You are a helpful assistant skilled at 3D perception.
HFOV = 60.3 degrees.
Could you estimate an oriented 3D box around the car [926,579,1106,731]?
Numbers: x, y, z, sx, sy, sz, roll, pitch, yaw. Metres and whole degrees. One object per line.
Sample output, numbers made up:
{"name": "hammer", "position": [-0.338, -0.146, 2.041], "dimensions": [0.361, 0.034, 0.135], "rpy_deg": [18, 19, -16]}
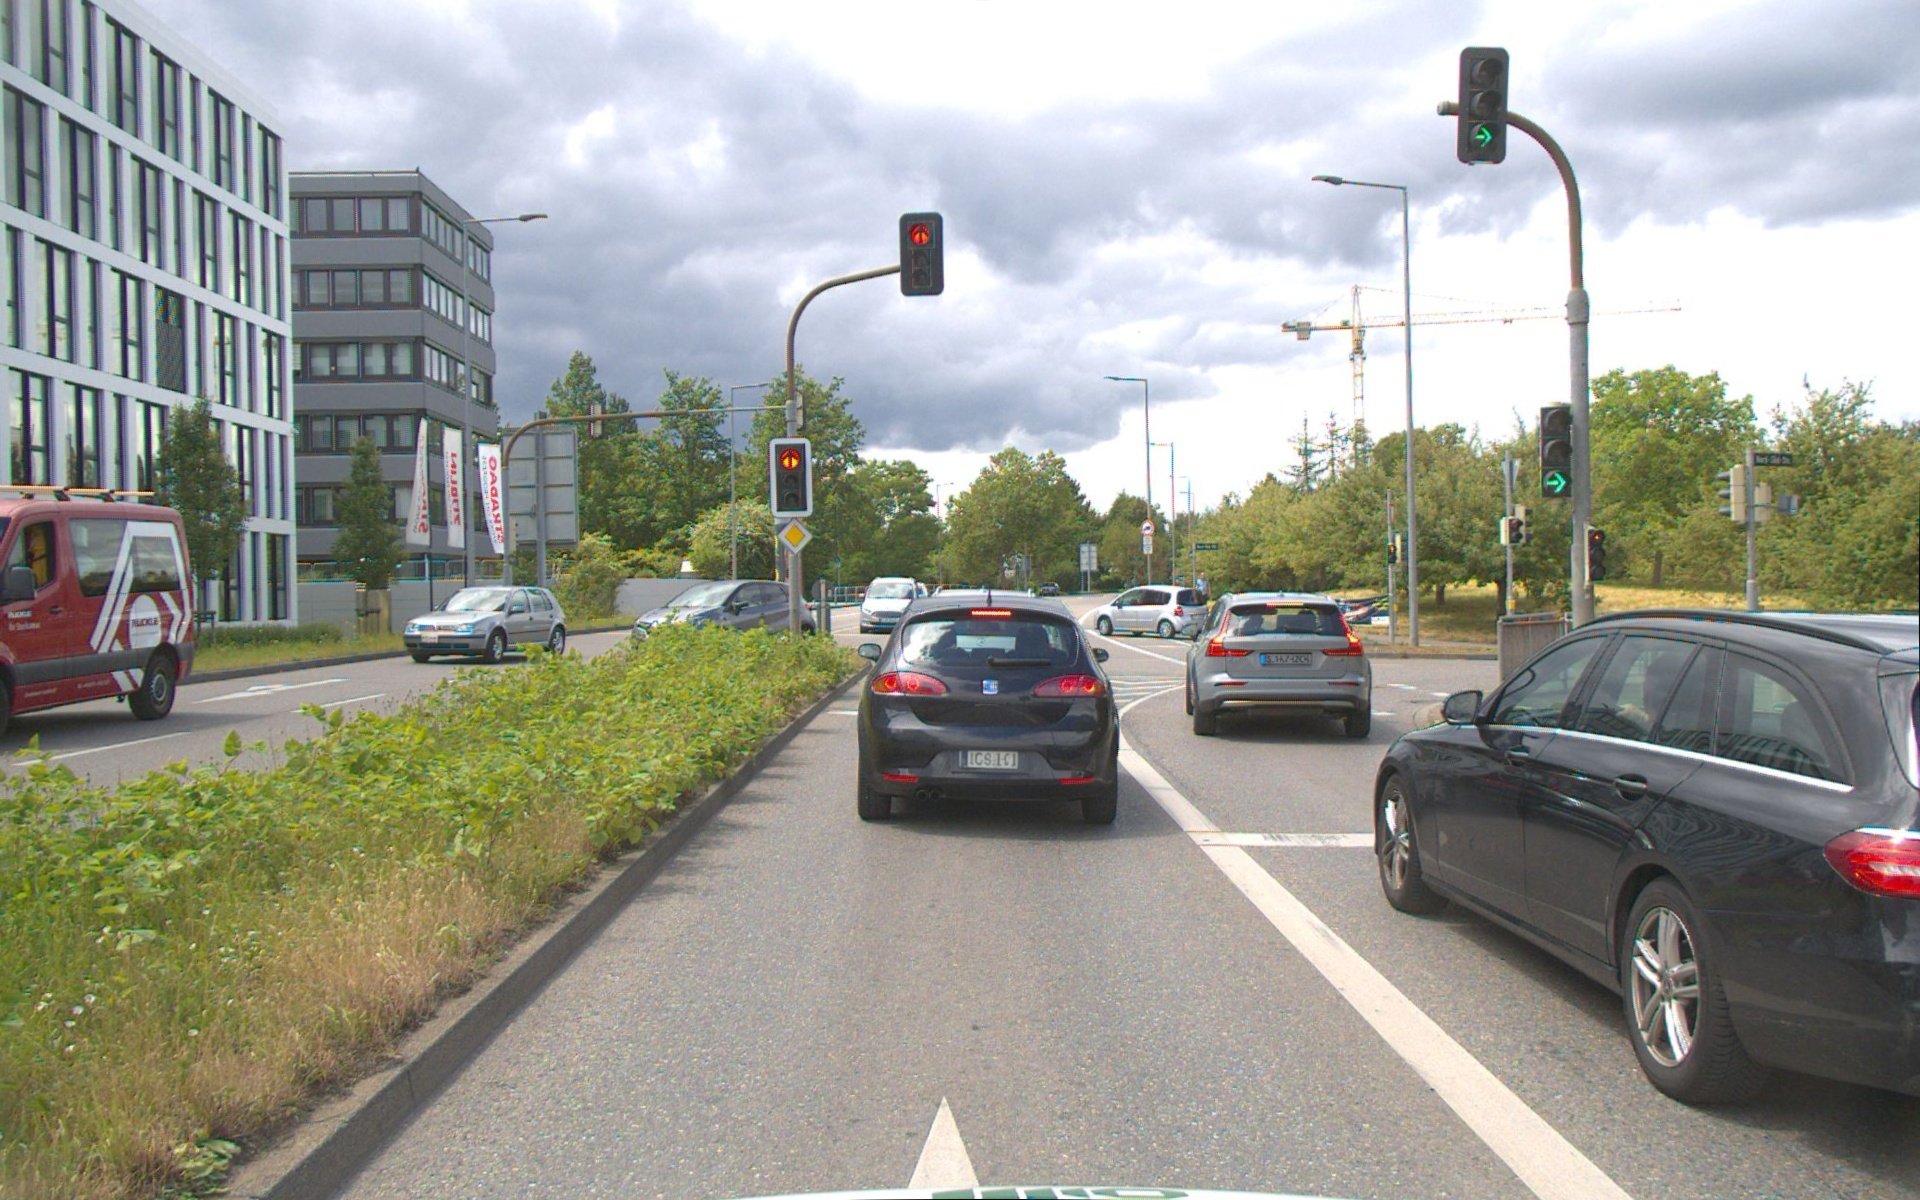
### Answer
{"name": "car", "position": [0.545, 0.547, 18.798], "dimensions": [1.738, 1.517, 3.580], "rpy_deg": [-1, 1, -3]}

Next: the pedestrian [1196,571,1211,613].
{"name": "pedestrian", "position": [10.357, -0.339, 70.477], "dimensions": [0.547, 1.756, 0.588], "rpy_deg": [0, 0, 0]}

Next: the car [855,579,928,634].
{"name": "car", "position": [-2.106, 0.170, 51.799], "dimensions": [1.952, 1.624, 4.002], "rpy_deg": [0, 1, 3]}

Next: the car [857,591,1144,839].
{"name": "car", "position": [0.230, 0.691, 11.851], "dimensions": [1.737, 1.477, 3.582], "rpy_deg": [0, 1, -1]}

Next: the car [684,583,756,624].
{"name": "car", "position": [-8.268, 0.088, 57.215], "dimensions": [1.953, 1.375, 4.000], "rpy_deg": [0, 1, -1]}

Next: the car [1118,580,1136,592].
{"name": "car", "position": [19.025, -1.639, 187.995], "dimensions": [1.951, 1.375, 4.003], "rpy_deg": [0, 1, 7]}

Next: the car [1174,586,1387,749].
{"name": "car", "position": [3.443, 0.650, 18.528], "dimensions": [1.823, 1.545, 4.449], "rpy_deg": [-1, 1, 5]}

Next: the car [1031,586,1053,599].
{"name": "car", "position": [8.390, -0.774, 169.789], "dimensions": [1.951, 1.375, 4.003], "rpy_deg": [0, 1, 7]}

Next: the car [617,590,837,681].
{"name": "car", "position": [-4.318, 0.608, 31.144], "dimensions": [1.902, 1.543, 3.986], "rpy_deg": [0, 1, 35]}

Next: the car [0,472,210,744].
{"name": "car", "position": [-9.635, 0.075, 16.505], "dimensions": [1.953, 2.454, 5.240], "rpy_deg": [-1, 0, -1]}

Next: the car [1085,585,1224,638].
{"name": "car", "position": [5.943, 0.316, 50.869], "dimensions": [1.984, 1.557, 3.938], "rpy_deg": [-1, 1, -42]}

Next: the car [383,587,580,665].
{"name": "car", "position": [-9.161, 0.464, 32.042], "dimensions": [1.951, 1.378, 4.004], "rpy_deg": [0, 1, 13]}

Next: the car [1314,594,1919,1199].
{"name": "car", "position": [3.012, 0.748, 6.469], "dimensions": [1.835, 1.466, 5.196], "rpy_deg": [-1, 1, -4]}
